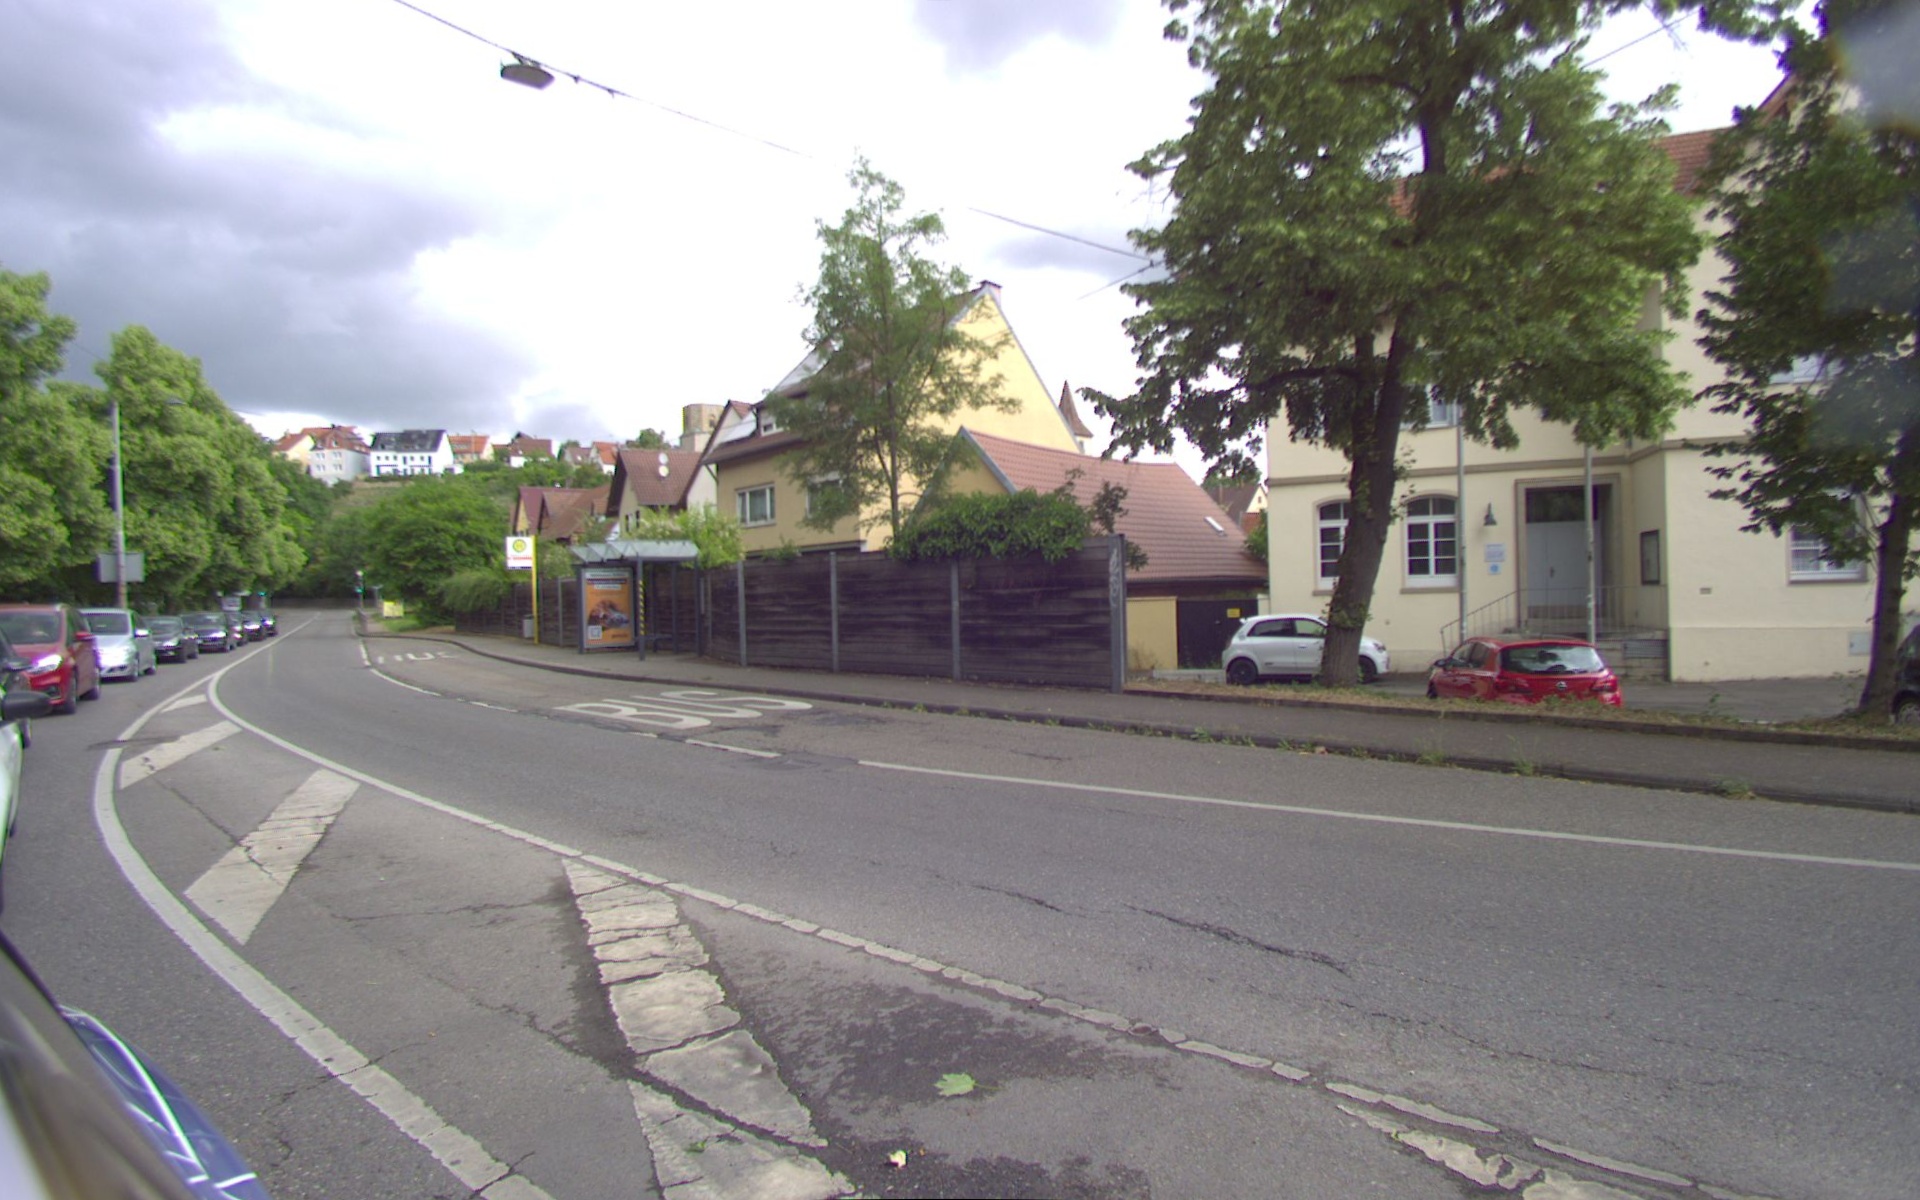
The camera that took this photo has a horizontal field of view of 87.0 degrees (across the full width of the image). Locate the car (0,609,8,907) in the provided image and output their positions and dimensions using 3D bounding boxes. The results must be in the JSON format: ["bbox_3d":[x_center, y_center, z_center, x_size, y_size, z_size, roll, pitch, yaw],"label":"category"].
[{"bbox_3d":[-6.221,0.820,5.406,1.604,1.519,4.004,-1,0,-43],"label":"car"}]

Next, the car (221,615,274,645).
[{"bbox_3d":[-32.763,1.353,46.609,1.617,1.278,3.637,-1,0,-29],"label":"car"}]

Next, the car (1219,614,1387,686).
[{"bbox_3d":[7.721,1.105,22.942,3.454,1.503,1.643,-1,0,20],"label":"car"}]

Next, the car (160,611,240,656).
[{"bbox_3d":[-26.691,1.130,35.643,1.669,1.422,3.994,-1,0,-29],"label":"car"}]

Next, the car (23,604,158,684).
[{"bbox_3d":[-19.029,0.896,22.326,1.754,1.580,4.011,-1,0,-33],"label":"car"}]

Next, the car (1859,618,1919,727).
[{"bbox_3d":[12.571,0.901,11.729,1.465,1.320,3.394,-1,0,6],"label":"car"}]

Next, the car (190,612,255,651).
[{"bbox_3d":[-30.028,1.236,41.307,1.679,1.457,3.879,-1,0,-29],"label":"car"}]

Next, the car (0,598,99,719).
[{"bbox_3d":[-14.467,0.828,15.499,1.649,1.654,4.110,-1,0,-36],"label":"car"}]

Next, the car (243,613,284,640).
[{"bbox_3d":[-35.899,1.344,52.238,1.396,1.259,3.306,-1,0,-29],"label":"car"}]

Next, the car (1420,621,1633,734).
[{"bbox_3d":[8.134,1.037,14.895,1.582,1.363,3.619,-1,0,10],"label":"car"}]

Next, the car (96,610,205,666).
[{"bbox_3d":[-23.655,1.063,29.715,1.823,1.468,4.013,-1,0,-29],"label":"car"}]

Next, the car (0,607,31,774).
[{"bbox_3d":[-10.665,0.852,10.302,1.705,1.532,4.005,-1,0,-42],"label":"car"}]
